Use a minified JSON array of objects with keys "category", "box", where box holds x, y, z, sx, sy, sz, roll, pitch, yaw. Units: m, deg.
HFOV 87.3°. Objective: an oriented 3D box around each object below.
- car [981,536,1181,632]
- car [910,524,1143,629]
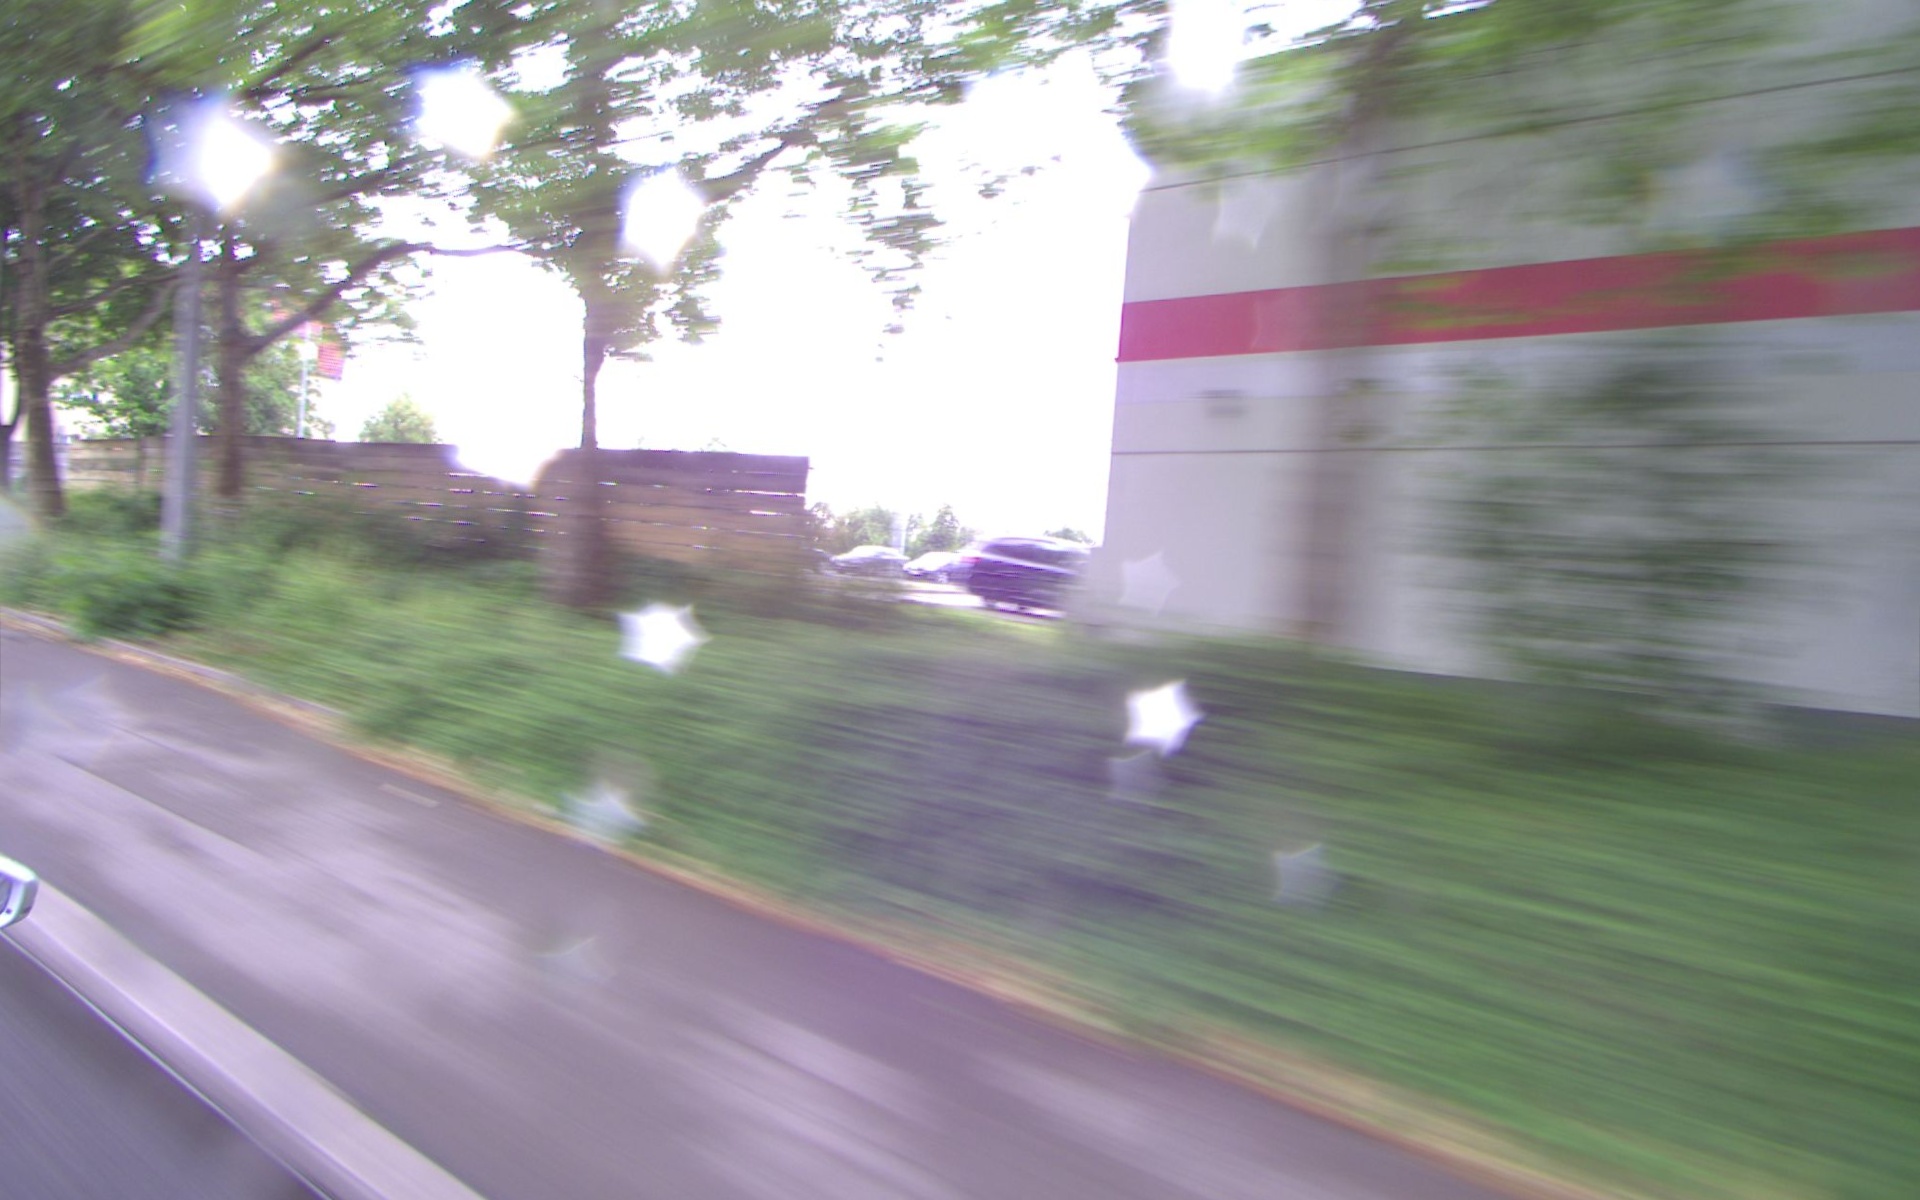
[{"category":"car","box":[2.736,-0.376,22.812,3.933,1.758,1.998,4,-3,30]},{"category":"car","box":[1.310,-0.490,20.375,4.224,1.615,1.797,7,0,31]}]
